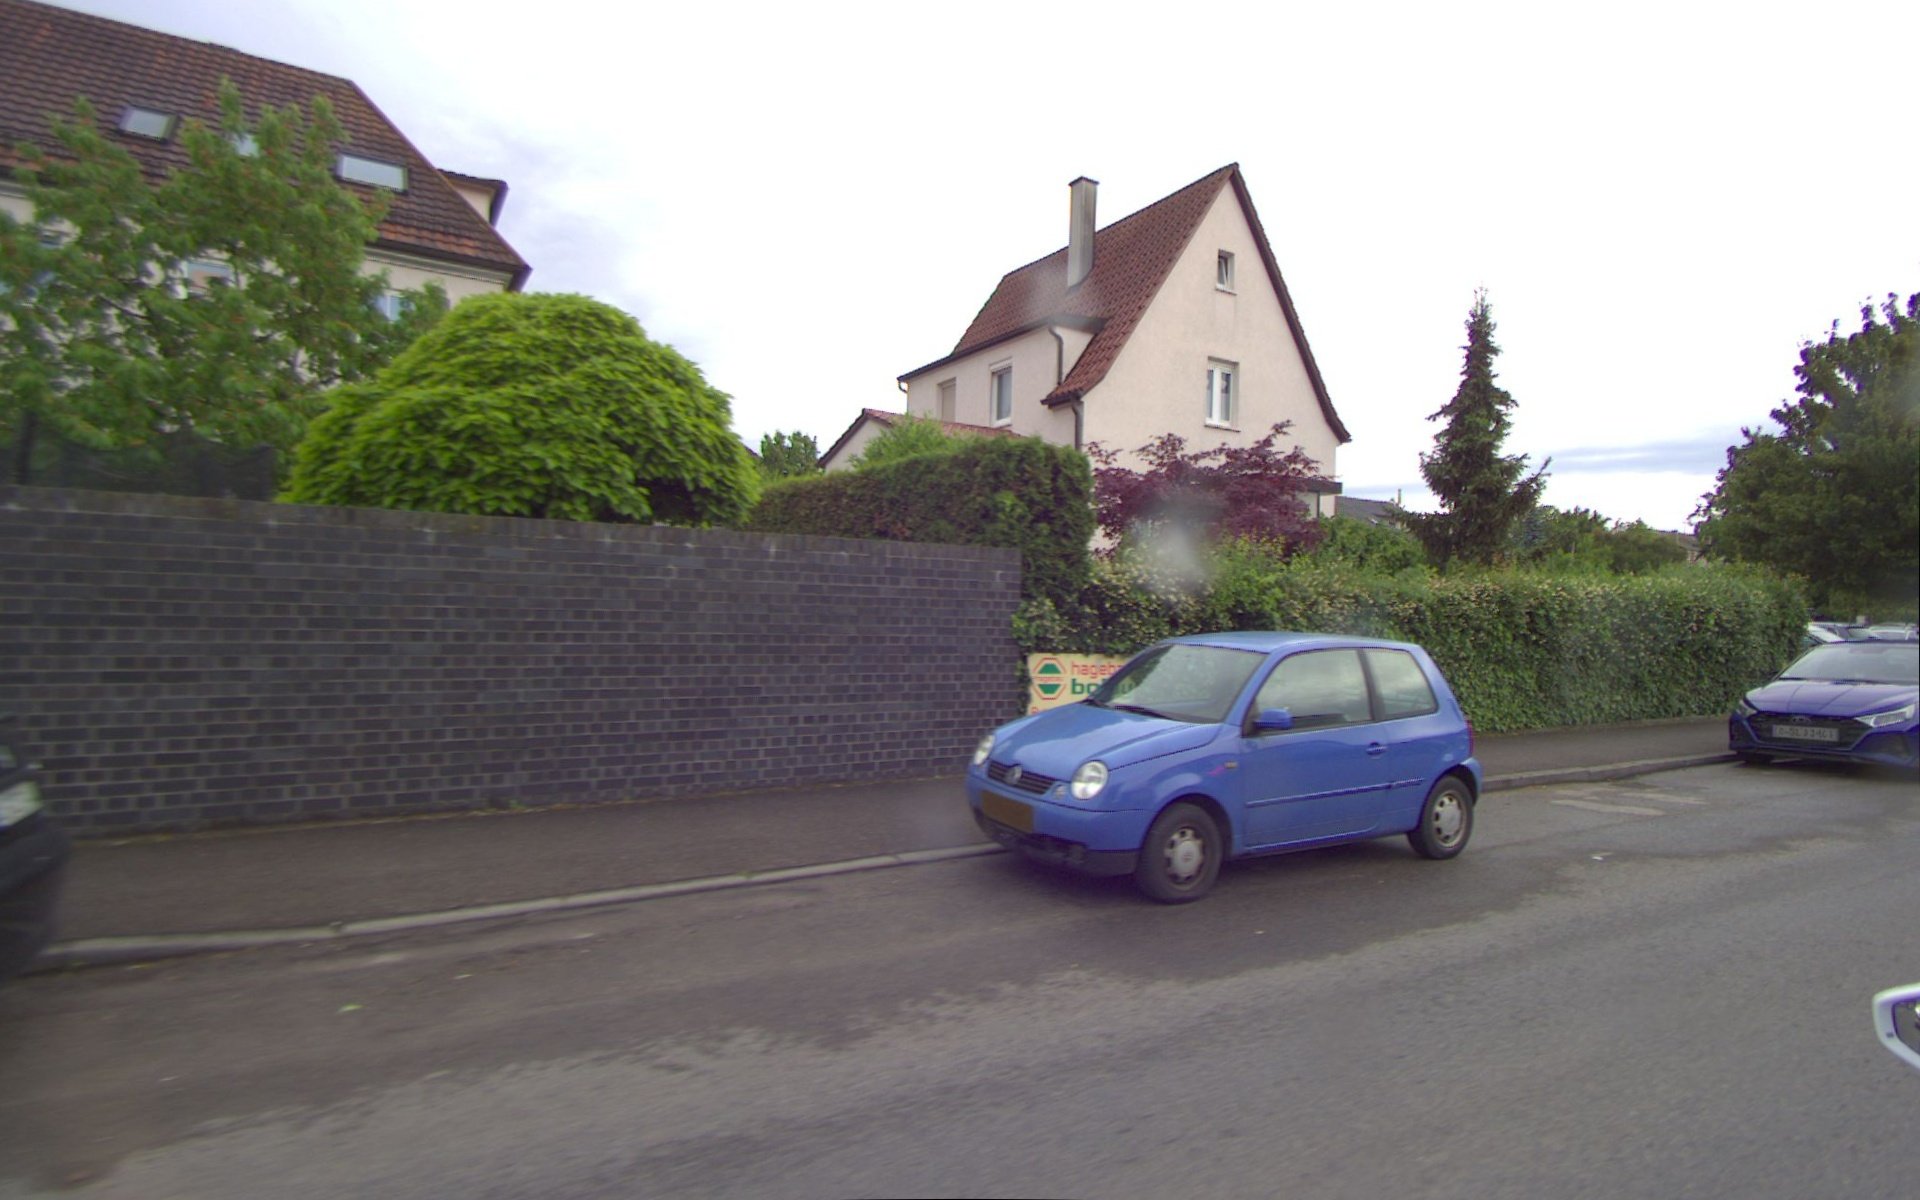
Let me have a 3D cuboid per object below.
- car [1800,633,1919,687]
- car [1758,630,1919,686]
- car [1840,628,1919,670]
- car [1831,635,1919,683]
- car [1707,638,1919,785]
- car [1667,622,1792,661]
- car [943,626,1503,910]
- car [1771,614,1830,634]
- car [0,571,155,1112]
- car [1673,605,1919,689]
[{"bbox_3d":[26.890,1.705,28.475,1.867,1.392,4.356,2,-1,-30],"label":"car"},{"bbox_3d":[24.633,1.546,27.071,1.867,1.327,4.536,2,-1,-30],"label":"car"},{"bbox_3d":[36.444,1.904,39.436,3.953,1.550,1.683,2,-1,-30],"label":"car"},{"bbox_3d":[28.917,1.778,29.742,1.750,1.349,4.430,2,-1,-30],"label":"car"},{"bbox_3d":[10.660,1.177,11.687,3.898,1.421,1.798,2,-2,-30],"label":"car"},{"bbox_3d":[33.655,1.800,44.028,1.817,1.550,3.966,2,-1,-32],"label":"car"},{"bbox_3d":[1.807,0.905,6.643,3.555,1.421,1.538,2,-2,-30],"label":"car"},{"bbox_3d":[82.502,2.378,98.621,3.919,1.747,2.001,1,1,7],"label":"car"},{"bbox_3d":[-4.627,0.654,2.642,3.664,1.526,1.601,2,-2,-30],"label":"car"},{"bbox_3d":[20.430,1.062,24.560,1.878,1.814,4.529,2,-1,-34],"label":"car"}]
